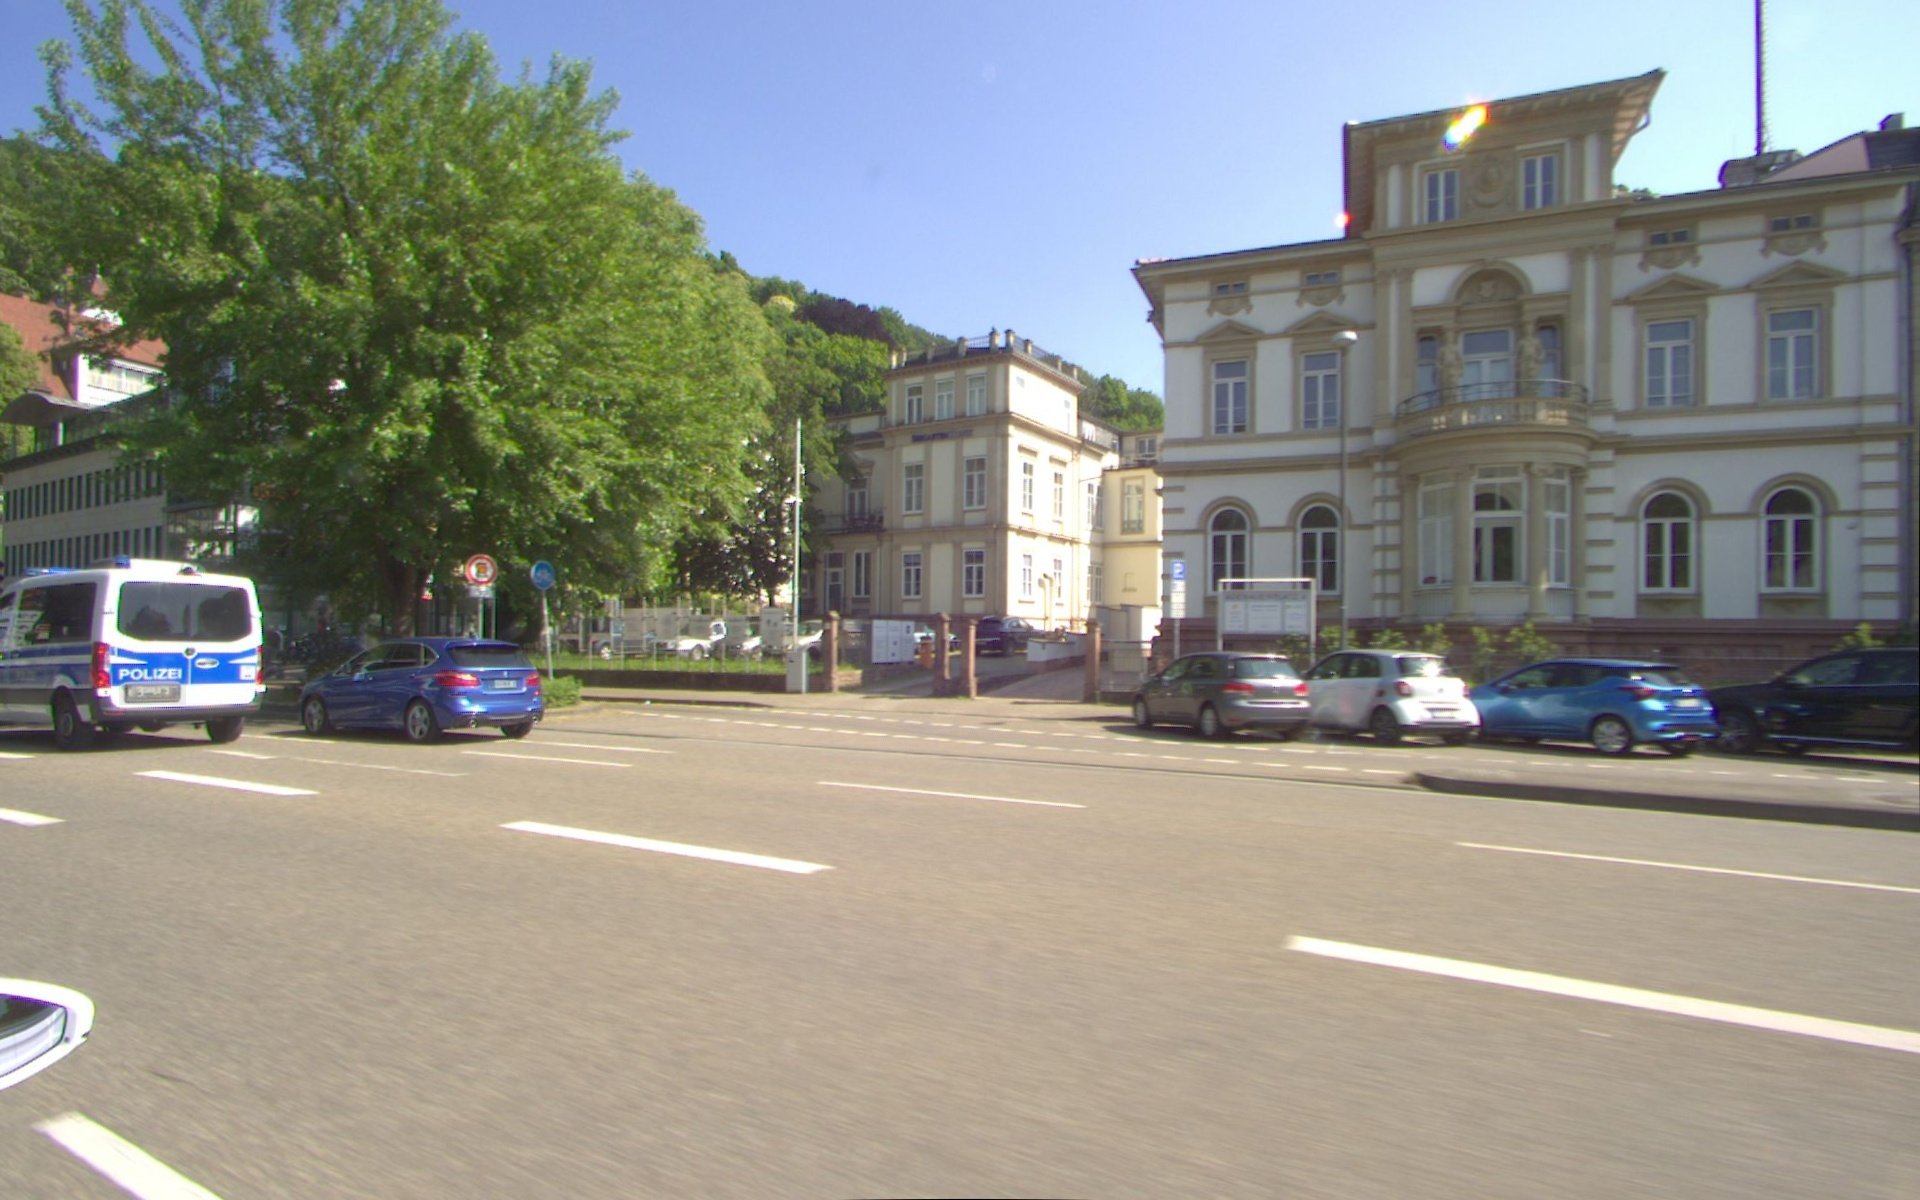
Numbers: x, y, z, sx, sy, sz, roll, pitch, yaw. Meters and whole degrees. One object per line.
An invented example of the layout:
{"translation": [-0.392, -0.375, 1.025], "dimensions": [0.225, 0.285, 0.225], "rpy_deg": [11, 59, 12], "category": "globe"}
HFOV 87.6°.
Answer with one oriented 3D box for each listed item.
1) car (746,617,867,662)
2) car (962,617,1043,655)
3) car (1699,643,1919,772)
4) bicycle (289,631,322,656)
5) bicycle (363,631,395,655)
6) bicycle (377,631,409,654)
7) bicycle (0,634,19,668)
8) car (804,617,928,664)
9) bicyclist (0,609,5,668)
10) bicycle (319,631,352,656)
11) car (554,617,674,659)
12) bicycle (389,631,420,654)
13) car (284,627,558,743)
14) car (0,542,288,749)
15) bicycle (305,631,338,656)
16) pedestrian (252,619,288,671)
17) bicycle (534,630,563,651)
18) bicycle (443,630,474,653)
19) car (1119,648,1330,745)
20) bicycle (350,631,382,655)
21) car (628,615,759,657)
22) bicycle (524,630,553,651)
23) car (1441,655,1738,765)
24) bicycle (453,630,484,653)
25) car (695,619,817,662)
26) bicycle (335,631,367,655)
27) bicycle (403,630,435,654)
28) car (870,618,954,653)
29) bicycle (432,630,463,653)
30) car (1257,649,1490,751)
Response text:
{"translation": [-4.868, 1.251, 32.282], "dimensions": [1.832, 1.353, 4.038], "rpy_deg": [0, -2, 28], "category": "car"}
{"translation": [1.842, 1.505, 42.276], "dimensions": [1.837, 1.529, 4.047], "rpy_deg": [0, -2, 28], "category": "car"}
{"translation": [13.470, 1.507, 14.477], "dimensions": [1.685, 1.717, 4.263], "rpy_deg": [2, -2, -22], "category": "car"}
{"translation": [-28.886, 1.906, 44.189], "dimensions": [1.809, 1.099, 0.536], "rpy_deg": [0, -1, 33], "category": "bicycle"}
{"translation": [-27.156, 1.983, 46.798], "dimensions": [1.809, 1.099, 0.536], "rpy_deg": [0, -1, 33], "category": "bicycle"}
{"translation": [-26.828, 2.000, 47.356], "dimensions": [1.809, 1.099, 0.536], "rpy_deg": [0, -1, 33], "category": "bicycle"}
{"translation": [-32.337, 1.666, 32.856], "dimensions": [0.748, 1.127, 2.066], "rpy_deg": [-1, -2, 43], "category": "bicycle"}
{"translation": [-2.857, 1.248, 31.211], "dimensions": [1.961, 1.353, 4.038], "rpy_deg": [0, -2, 28], "category": "car"}
{"translation": [-32.242, 1.261, 32.962], "dimensions": [0.740, 1.957, 1.120], "rpy_deg": [-1, -2, 43], "category": "bicyclist"}
{"translation": [-28.227, 1.937, 45.236], "dimensions": [1.809, 1.099, 0.536], "rpy_deg": [0, -1, 33], "category": "bicycle"}
{"translation": [-12.775, 1.395, 37.274], "dimensions": [1.848, 1.494, 4.143], "rpy_deg": [0, -2, 26], "category": "car"}
{"translation": [-26.561, 2.015, 47.873], "dimensions": [1.809, 1.099, 0.536], "rpy_deg": [0, -1, 33], "category": "bicycle"}
{"translation": [-8.493, 1.261, 15.733], "dimensions": [4.205, 1.560, 1.719], "rpy_deg": [0, -3, 28], "category": "car"}
{"translation": [-12.094, 0.639, 14.397], "dimensions": [4.855, 2.540, 2.072], "rpy_deg": [-1, -2, 30], "category": "car"}
{"translation": [-28.537, 1.922, 44.729], "dimensions": [1.809, 1.099, 0.536], "rpy_deg": [0, -1, 33], "category": "bicycle"}
{"translation": [-25.161, 1.635, 36.513], "dimensions": [0.817, 1.878, 0.770], "rpy_deg": [0, -2, 31], "category": "pedestrian"}
{"translation": [-22.477, 2.216, 54.629], "dimensions": [1.809, 1.099, 0.536], "rpy_deg": [0, -1, 33], "category": "bicycle"}
{"translation": [-24.989, 2.072, 49.838], "dimensions": [1.809, 1.099, 0.536], "rpy_deg": [0, -1, 33], "category": "bicycle"}
{"translation": [4.556, 1.630, 17.932], "dimensions": [1.795, 1.480, 4.102], "rpy_deg": [1, -2, -17], "category": "car"}
{"translation": [-27.456, 1.968, 46.281], "dimensions": [1.809, 1.099, 0.536], "rpy_deg": [0, -1, 33], "category": "bicycle"}
{"translation": [-9.048, 1.230, 34.327], "dimensions": [1.793, 1.353, 4.464], "rpy_deg": [0, -2, 28], "category": "car"}
{"translation": [-22.790, 2.202, 54.154], "dimensions": [1.809, 1.099, 0.536], "rpy_deg": [0, -1, 33], "category": "bicycle"}
{"translation": [9.920, 1.661, 16.113], "dimensions": [1.685, 1.460, 3.802], "rpy_deg": [2, -2, -22], "category": "car"}
{"translation": [-24.707, 2.088, 50.361], "dimensions": [1.809, 1.099, 0.536], "rpy_deg": [0, -1, 33], "category": "bicycle"}
{"translation": [-6.711, 1.325, 33.331], "dimensions": [1.793, 1.353, 4.083], "rpy_deg": [0, -2, 28], "category": "car"}
{"translation": [-27.807, 1.951, 45.701], "dimensions": [1.809, 1.099, 0.536], "rpy_deg": [0, -1, 33], "category": "bicycle"}
{"translation": [-26.094, 2.026, 48.266], "dimensions": [1.809, 1.099, 0.536], "rpy_deg": [0, -1, 33], "category": "bicycle"}
{"translation": [-2.020, 1.507, 43.381], "dimensions": [1.793, 1.437, 4.047], "rpy_deg": [0, -2, 28], "category": "car"}
{"translation": [-25.248, 2.056, 49.288], "dimensions": [1.809, 1.099, 0.536], "rpy_deg": [0, -1, 33], "category": "bicycle"}
{"translation": [7.062, 1.644, 17.511], "dimensions": [1.684, 1.530, 3.804], "rpy_deg": [1, -2, -19], "category": "car"}
